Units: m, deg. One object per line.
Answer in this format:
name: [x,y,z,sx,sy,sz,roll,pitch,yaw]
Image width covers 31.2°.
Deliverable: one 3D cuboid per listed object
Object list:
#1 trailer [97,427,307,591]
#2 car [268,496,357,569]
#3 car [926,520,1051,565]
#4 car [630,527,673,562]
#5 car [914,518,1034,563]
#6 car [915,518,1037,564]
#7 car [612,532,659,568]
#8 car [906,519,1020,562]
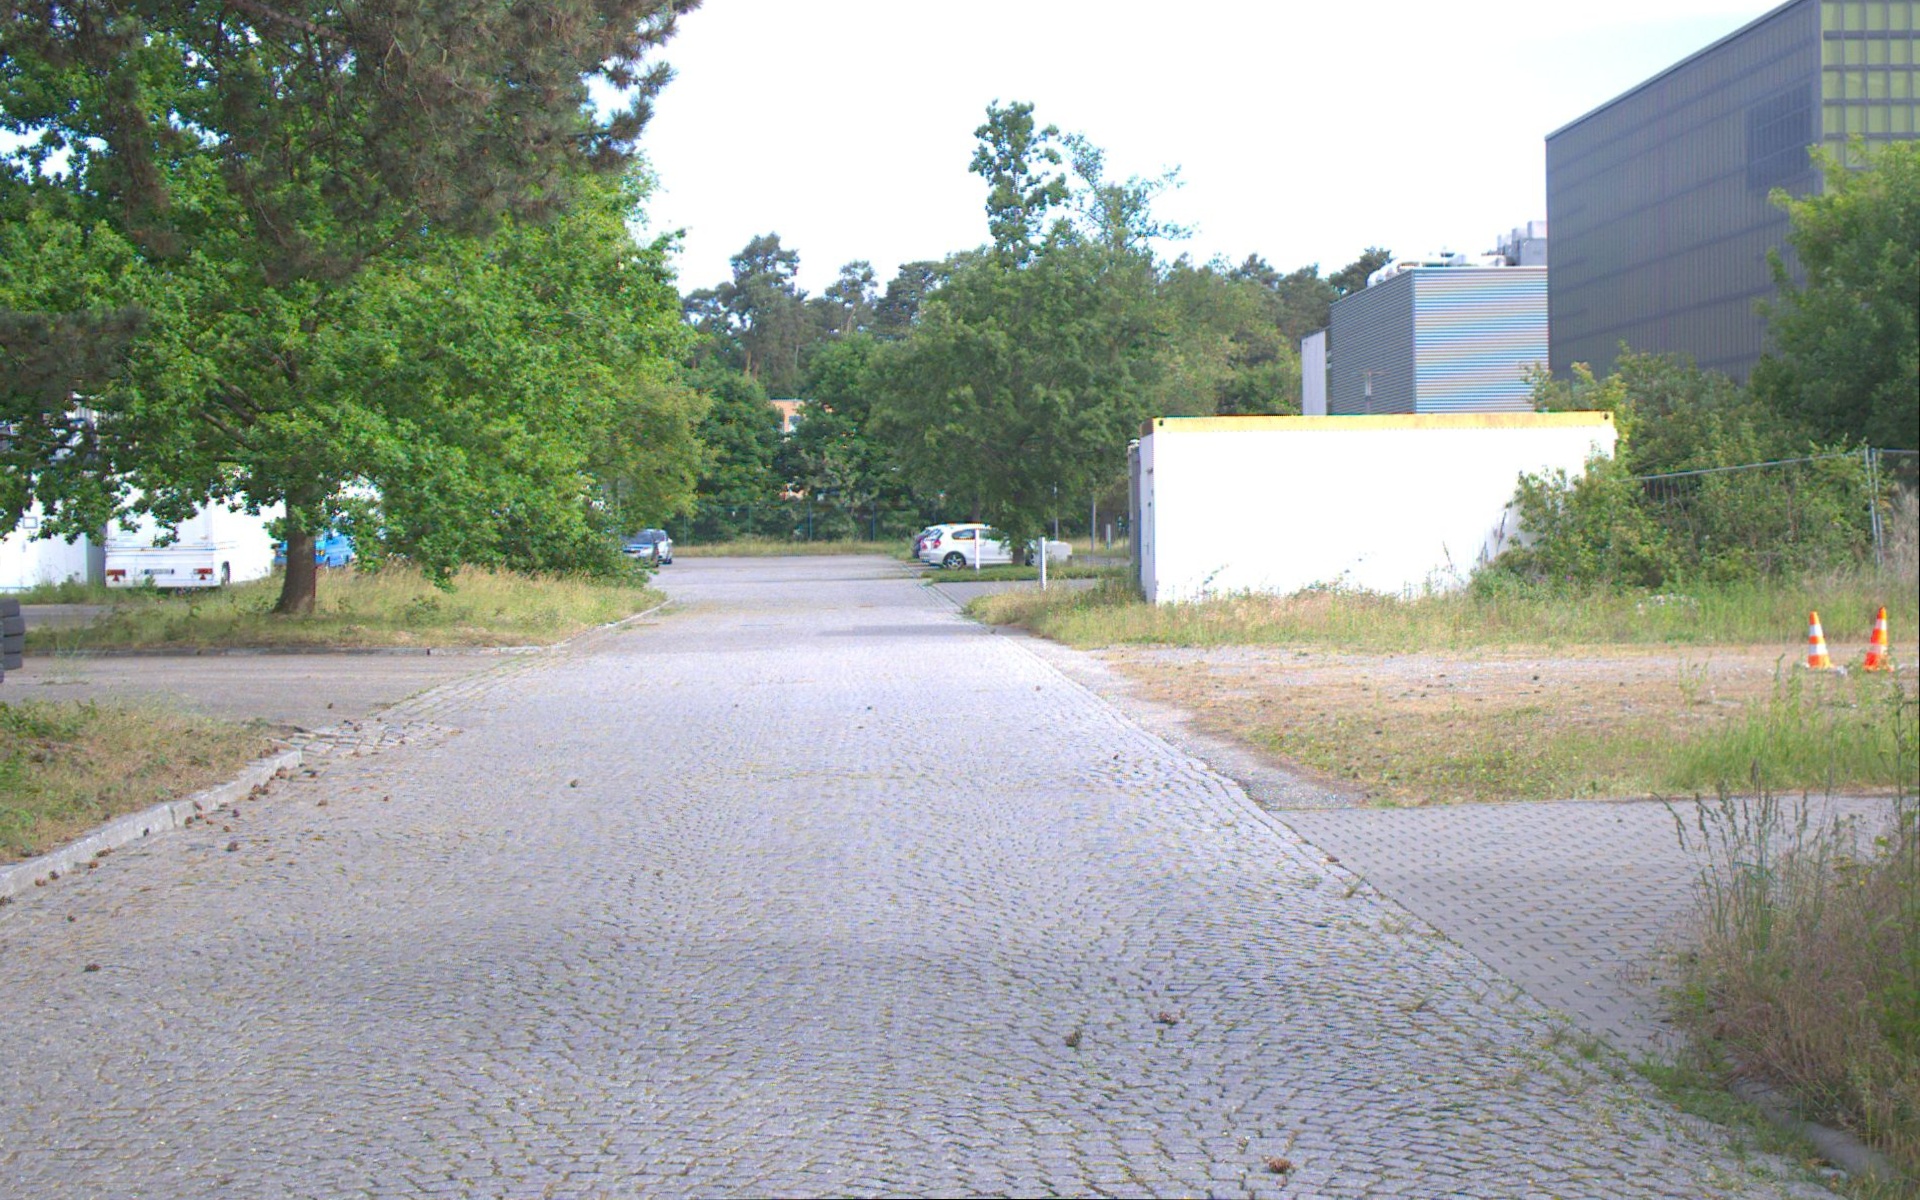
trailer: [-18.312,-2.195,83.781,2.656,3.693,10.722,-1,1,0]
car: [-23.225,-2.431,123.437,1.993,2.514,5.618,-1,1,1]
car: [0.901,-1.870,111.793,3.986,1.450,2.000,0,0,-2]
car: [-13.060,-2.370,145.588,1.748,1.449,4.001,-1,1,-4]
car: [0.459,-2.038,116.990,3.986,1.450,1.770,-1,1,-2]
car: [0.520,-1.956,113.951,3.986,1.450,1.697,-1,1,-2]
car: [-12.778,-1.994,135.364,1.748,1.359,4.001,-1,1,-4]
car: [0.090,-2.097,121.885,3.986,1.450,1.770,-1,1,-2]
